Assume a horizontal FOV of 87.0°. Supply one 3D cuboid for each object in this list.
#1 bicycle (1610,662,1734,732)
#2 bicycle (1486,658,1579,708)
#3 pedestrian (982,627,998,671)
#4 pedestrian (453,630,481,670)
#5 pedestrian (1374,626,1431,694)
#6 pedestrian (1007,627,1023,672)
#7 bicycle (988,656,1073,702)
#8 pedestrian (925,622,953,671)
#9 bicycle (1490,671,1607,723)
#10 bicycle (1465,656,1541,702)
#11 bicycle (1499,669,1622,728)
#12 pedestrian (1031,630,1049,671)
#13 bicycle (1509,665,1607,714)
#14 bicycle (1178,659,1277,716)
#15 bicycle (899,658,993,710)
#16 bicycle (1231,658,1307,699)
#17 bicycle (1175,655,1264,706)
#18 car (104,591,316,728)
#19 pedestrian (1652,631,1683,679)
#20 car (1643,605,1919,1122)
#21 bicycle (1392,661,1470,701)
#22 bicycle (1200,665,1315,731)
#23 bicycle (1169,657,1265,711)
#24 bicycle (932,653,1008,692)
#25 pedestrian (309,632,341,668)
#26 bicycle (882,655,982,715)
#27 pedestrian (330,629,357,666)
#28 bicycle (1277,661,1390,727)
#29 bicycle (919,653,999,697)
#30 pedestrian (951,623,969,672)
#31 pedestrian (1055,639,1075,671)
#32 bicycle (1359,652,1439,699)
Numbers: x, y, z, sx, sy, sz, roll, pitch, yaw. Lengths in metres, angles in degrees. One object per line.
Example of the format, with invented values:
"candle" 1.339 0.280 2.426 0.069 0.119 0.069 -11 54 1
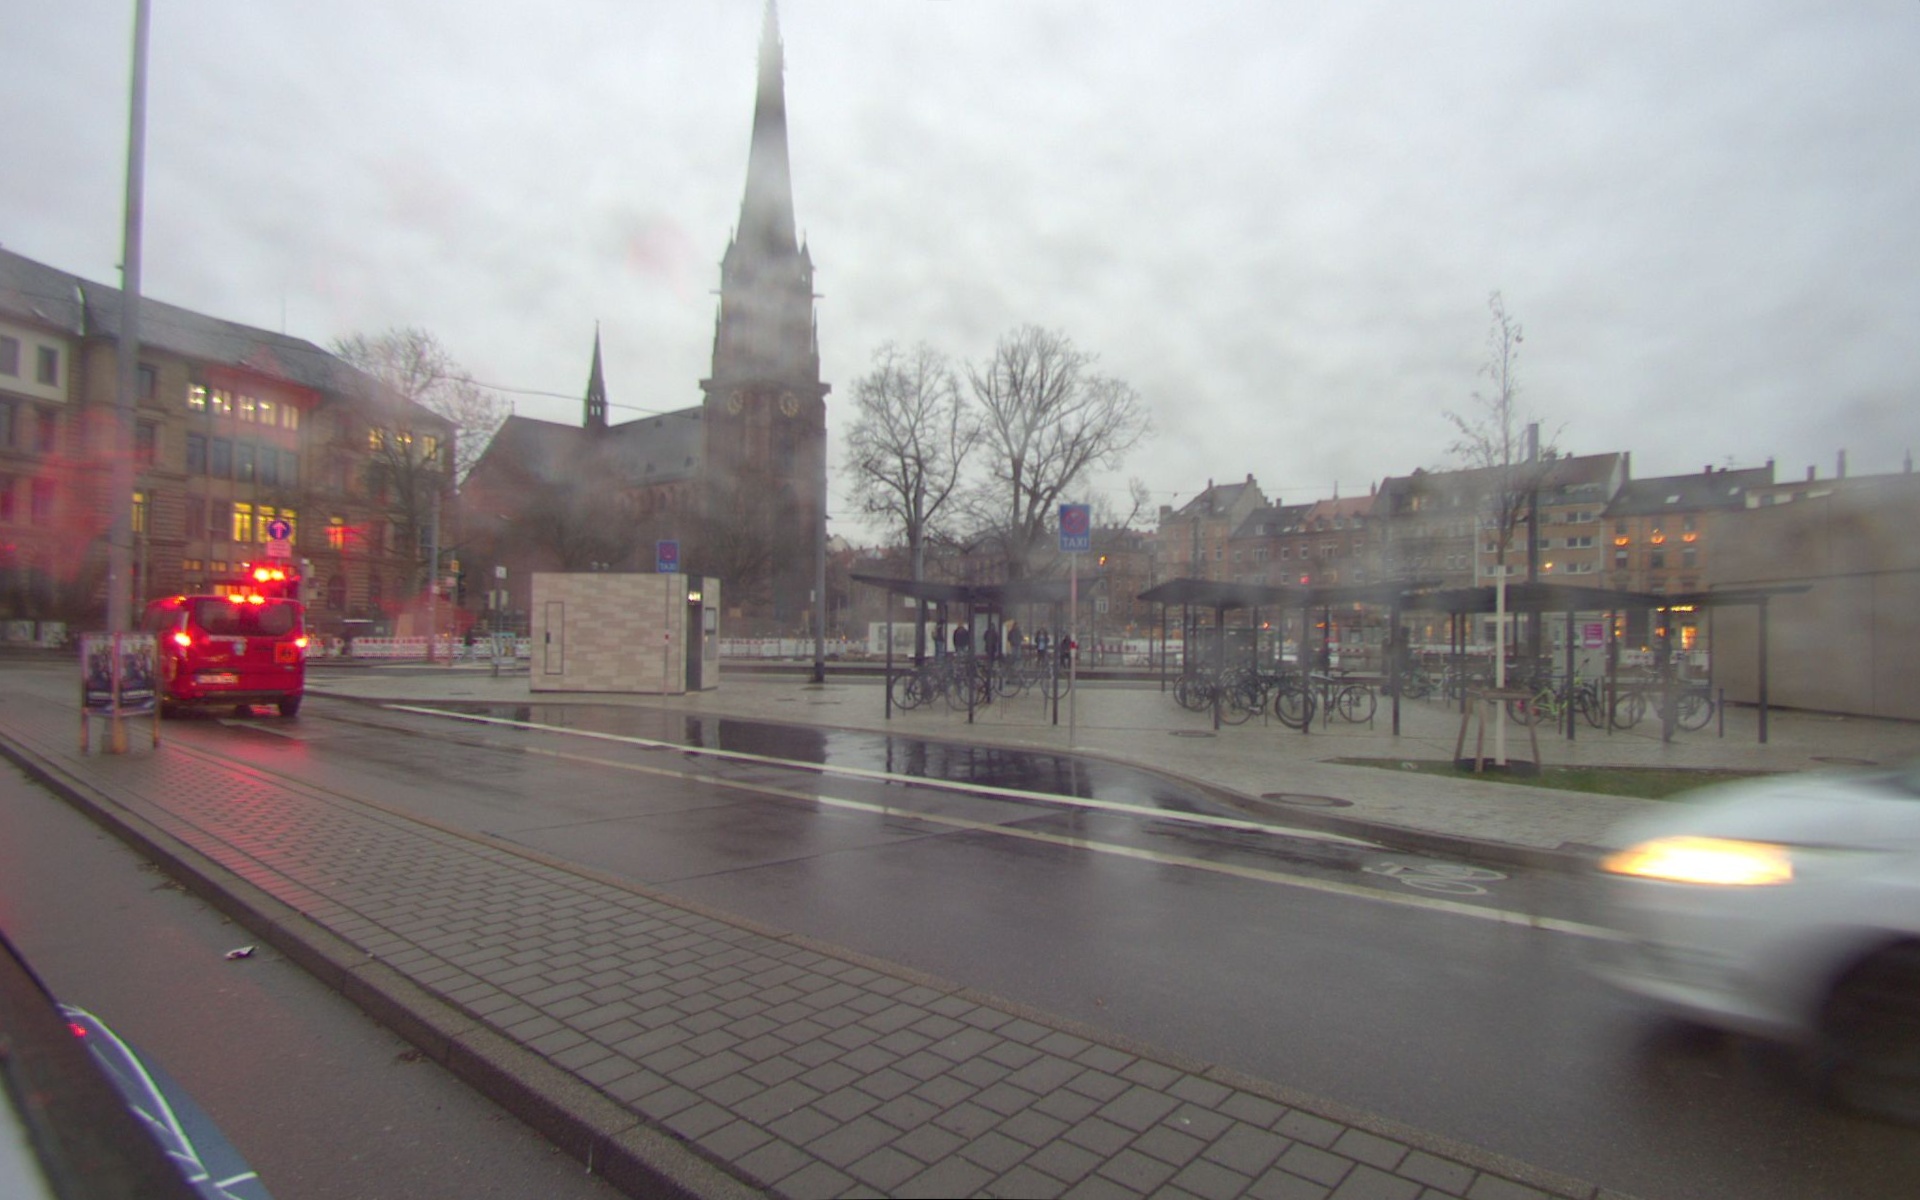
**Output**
"bicycle" 12.685 1.726 18.057 1.731 1.165 0.617 1 -1 1
"bicycle" 13.248 1.911 23.429 1.810 1.081 0.474 1 -1 8
"pedestrian" 1.142 1.860 38.662 0.556 1.664 0.540 -1 0 -1
"pedestrian" -23.977 2.443 49.192 0.962 1.915 0.673 1 -2 7
"pedestrian" 11.845 1.598 27.140 1.052 1.778 1.011 0 -3 0
"pedestrian" 2.062 1.857 38.124 0.543 1.648 0.571 -1 0 -1
"bicycle" 1.635 1.822 23.434 1.905 0.993 0.473 1 -1 11
"pedestrian" -0.785 1.725 38.111 0.827 1.808 0.661 -1 0 42
"bicycle" 11.363 1.864 19.583 1.905 0.898 0.473 1 -1 11
"bicycle" 13.228 1.918 24.676 1.551 1.044 0.521 1 -1 1
"bicycle" 11.122 1.815 18.795 1.905 0.983 0.473 1 -1 11
"pedestrian" 3.028 1.912 38.343 0.580 1.513 0.675 -1 0 -1
"bicycle" 12.896 1.921 21.842 1.751 0.963 0.473 1 -1 11
"bicycle" 5.440 1.776 20.628 1.905 1.078 0.473 1 -1 11
"bicycle" -0.292 1.734 21.115 1.905 0.993 0.473 1 -1 11
"bicycle" 7.658 1.943 25.081 1.729 0.946 0.474 1 -1 7
"bicycle" 5.845 1.810 22.861 1.905 1.078 0.473 1 -1 11
"car" -13.211 0.994 17.724 4.640 2.086 1.904 -1 -4 40
"pedestrian" 24.725 1.928 35.364 0.689 1.679 0.530 1 -3 -17
"car" 4.249 0.805 2.932 3.703 1.459 1.725 0 -4 33
"bicycle" 11.616 1.993 25.003 1.672 0.898 0.474 1 -1 5
"bicycle" 5.252 1.721 17.967 1.905 1.078 0.473 1 -1 11
"bicycle" 5.426 1.774 21.412 1.899 1.078 0.474 1 -1 2
"bicycle" 0.266 1.869 26.137 1.905 0.917 0.473 1 -1 11
"pedestrian" -30.611 2.395 48.771 1.201 1.673 0.767 -1 0 25
"bicycle" -0.542 1.654 19.877 1.905 1.078 0.473 1 -1 11
"pedestrian" -30.940 2.389 50.808 0.884 1.830 0.675 1 -2 -4
"bicycle" 6.941 1.736 18.877 1.905 1.129 0.473 1 -1 11
"bicycle" -0.019 1.829 24.879 1.905 0.993 0.473 1 -1 11
"pedestrian" -0.002 1.803 38.589 0.619 1.808 0.672 -1 0 -1
"pedestrian" 3.975 2.074 38.335 0.610 1.165 0.806 -1 0 -1
"bicycle" 11.180 1.926 25.813 1.780 1.116 0.473 1 -1 11
